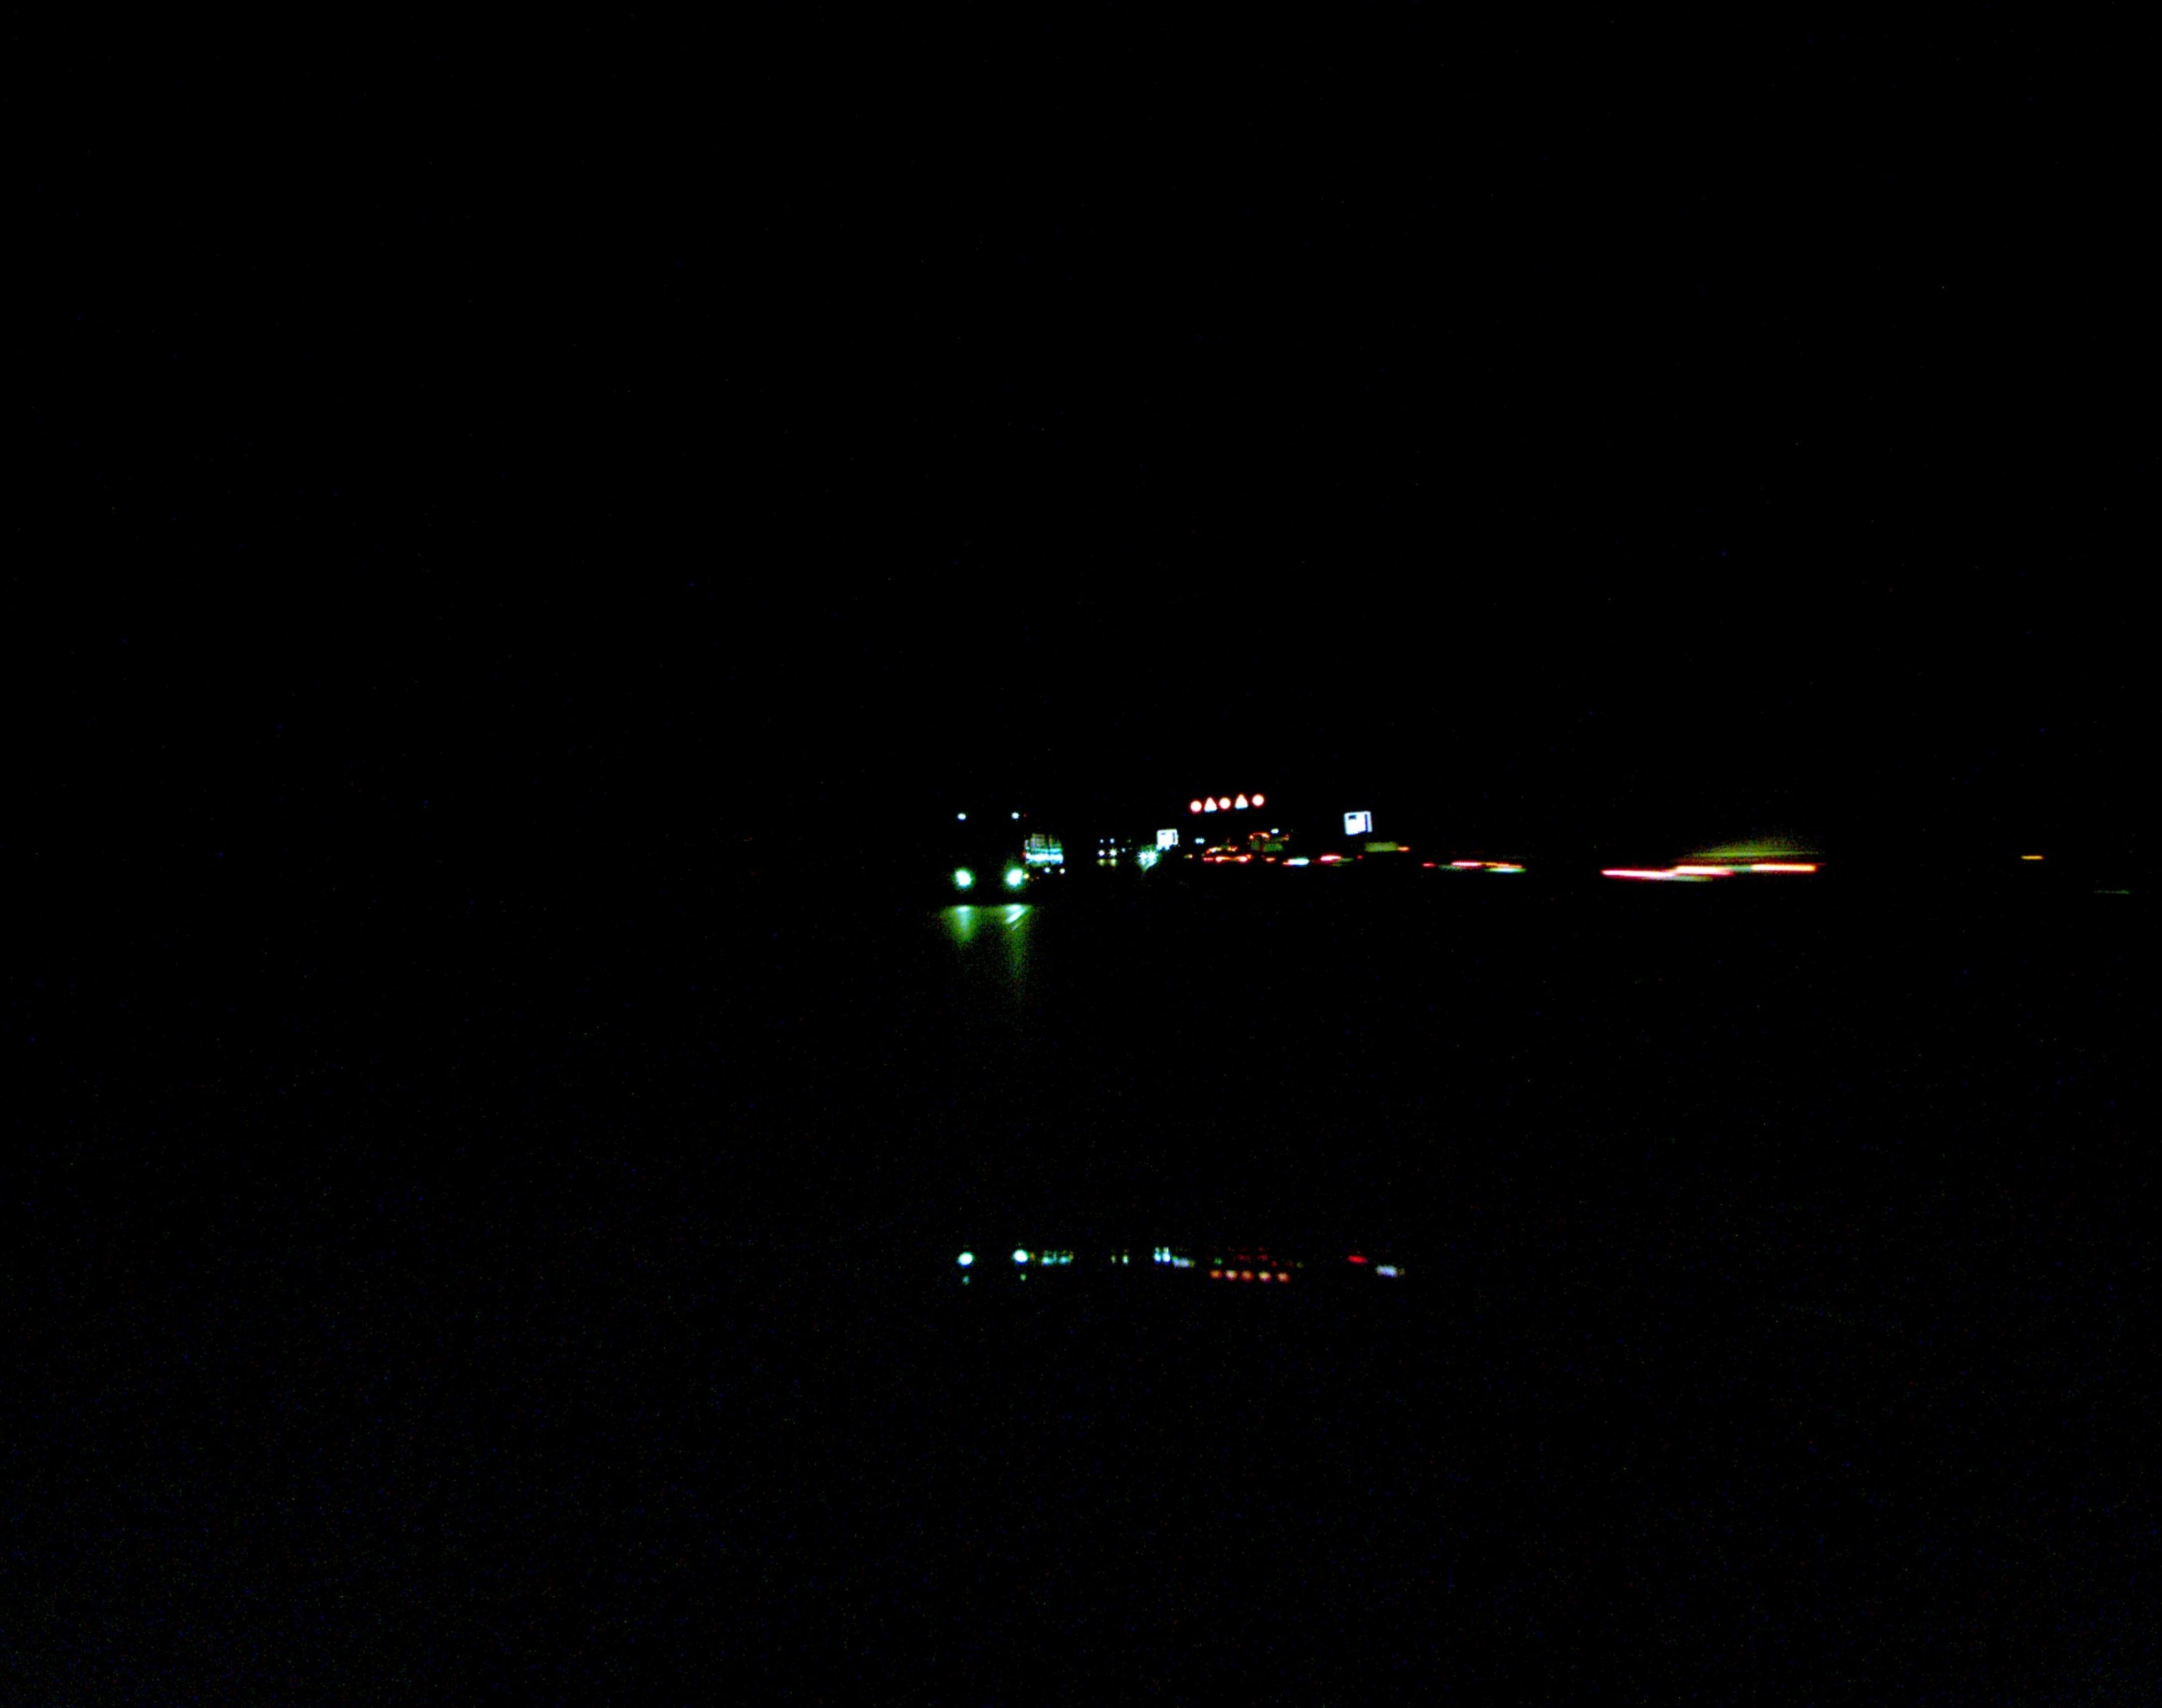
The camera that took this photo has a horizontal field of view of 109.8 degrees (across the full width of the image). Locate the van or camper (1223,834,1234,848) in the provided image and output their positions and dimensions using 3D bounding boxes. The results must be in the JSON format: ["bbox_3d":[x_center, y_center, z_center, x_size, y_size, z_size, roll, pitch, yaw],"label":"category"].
[{"bbox_3d":[30.097,-2.666,154.926,2.259,2.580,6.690,-1,2,11],"label":"van or camper"}]

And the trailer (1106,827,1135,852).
[{"bbox_3d":[7.419,-2.773,141.272,2.879,3.910,12.892,-3,3,13],"label":"trailer"}]

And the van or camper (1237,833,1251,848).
[{"bbox_3d":[32.222,-2.754,150.471,2.449,2.746,6.491,-2,2,11],"label":"van or camper"}]

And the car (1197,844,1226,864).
[{"bbox_3d":[10.504,-0.025,61.319,1.908,1.483,4.868,-2,1,5],"label":"car"}]

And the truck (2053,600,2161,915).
[{"bbox_3d":[15.812,-1.244,8.274,2.623,4.244,5.956,2,1,0],"label":"truck"}]

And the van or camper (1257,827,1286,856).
[{"bbox_3d":[21.000,-1.330,84.005,2.226,2.986,7.126,-2,1,7],"label":"van or camper"}]

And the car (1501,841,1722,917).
[{"bbox_3d":[12.322,0.469,18.196,1.908,1.483,5.260,-2,1,4],"label":"car"}]

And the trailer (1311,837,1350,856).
[{"bbox_3d":[24.025,-0.749,73.425,2.261,1.716,6.545,-2,1,6],"label":"trailer"}]

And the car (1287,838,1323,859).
[{"bbox_3d":[19.507,-0.498,66.336,1.931,1.644,4.736,-2,2,4],"label":"car"}]

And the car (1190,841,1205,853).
[{"bbox_3d":[12.037,-0.733,78.632,1.421,1.249,3.130,-2,1,6],"label":"car"}]

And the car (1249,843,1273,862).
[{"bbox_3d":[14.943,-0.168,63.249,1.702,1.455,3.484,-2,1,10],"label":"car"}]

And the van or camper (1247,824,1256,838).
[{"bbox_3d":[43.191,-5.950,192.401,2.272,3.361,5.698,-2,2,13],"label":"van or camper"}]

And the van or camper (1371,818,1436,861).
[{"bbox_3d":[21.901,-0.954,51.935,1.998,2.641,6.618,-2,0,4],"label":"van or camper"}]

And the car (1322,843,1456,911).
[{"bbox_3d":[7.900,0.503,20.050,1.908,1.483,4.868,-2,1,5],"label":"car"}]

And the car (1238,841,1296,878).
[{"bbox_3d":[8.428,0.195,34.851,1.908,1.483,4.869,-2,1,6],"label":"car"}]

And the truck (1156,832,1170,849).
[{"bbox_3d":[20.021,-3.233,185.673,2.898,3.950,4.001,-4,2,10],"label":"truck"}]

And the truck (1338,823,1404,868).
[{"bbox_3d":[17.311,-0.512,45.606,1.998,2.444,5.050,-2,1,1],"label":"truck"}]

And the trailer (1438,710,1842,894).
[{"bbox_3d":[16.439,-1.245,24.980,2.882,4.159,14.523,-2,0,2],"label":"trailer"}]

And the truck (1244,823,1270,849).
[{"bbox_3d":[23.790,-2.461,102.871,2.380,3.242,7.723,-1,2,5],"label":"truck"}]

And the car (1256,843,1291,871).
[{"bbox_3d":[14.585,0.190,57.767,1.680,1.840,4.111,-6,2,3],"label":"car"}]

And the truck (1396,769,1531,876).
[{"bbox_3d":[16.720,-1.301,33.733,2.872,4.186,6.106,-2,1,1],"label":"truck"}]

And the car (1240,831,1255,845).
[{"bbox_3d":[26.943,-2.625,123.003,2.135,2.255,4.565,-1,1,9],"label":"car"}]

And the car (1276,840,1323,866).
[{"bbox_3d":[14.152,-0.101,49.450,1.902,1.515,4.347,0,2,1],"label":"car"}]

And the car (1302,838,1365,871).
[{"bbox_3d":[12.625,-0.024,38.330,1.908,1.483,4.938,-2,1,5],"label":"car"}]

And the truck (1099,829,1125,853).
[{"bbox_3d":[5.517,-2.270,132.704,2.871,3.818,8.059,-4,2,13],"label":"truck"}]

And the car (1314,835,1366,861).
[{"bbox_3d":[17.608,-0.419,51.954,1.890,1.667,5.079,-2,1,2],"label":"car"}]

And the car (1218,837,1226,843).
[{"bbox_3d":[34.649,-3.450,186.822,1.822,1.443,4.507,-2,2,13],"label":"car"}]

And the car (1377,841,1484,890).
[{"bbox_3d":[12.287,0.342,27.081,1.908,1.483,4.868,-2,1,5],"label":"car"}]

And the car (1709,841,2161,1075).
[{"bbox_3d":[8.183,0.674,6.362,1.908,1.483,4.867,-2,1,2],"label":"car"}]

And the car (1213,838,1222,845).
[{"bbox_3d":[31.451,-2.802,175.235,1.836,1.443,4.509,-2,0,13],"label":"car"}]

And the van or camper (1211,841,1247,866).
[{"bbox_3d":[9.338,-0.063,48.179,1.742,1.457,4.868,-2,1,5],"label":"van or camper"}]

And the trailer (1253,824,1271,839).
[{"bbox_3d":[52.955,-6.639,221.834,3.439,4.218,12.844,-1,3,20],"label":"trailer"}]

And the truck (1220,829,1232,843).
[{"bbox_3d":[39.148,-4.949,205.074,2.659,3.570,8.557,-2,0,13],"label":"truck"}]

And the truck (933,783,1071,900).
[{"bbox_3d":[-2.969,-0.496,36.707,3.490,4.110,18.712,-2,0,3],"label":"truck"}]

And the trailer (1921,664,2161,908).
[{"bbox_3d":[19.750,-1.132,9.968,2.846,4.148,13.283,0,1,1],"label":"trailer"}]
